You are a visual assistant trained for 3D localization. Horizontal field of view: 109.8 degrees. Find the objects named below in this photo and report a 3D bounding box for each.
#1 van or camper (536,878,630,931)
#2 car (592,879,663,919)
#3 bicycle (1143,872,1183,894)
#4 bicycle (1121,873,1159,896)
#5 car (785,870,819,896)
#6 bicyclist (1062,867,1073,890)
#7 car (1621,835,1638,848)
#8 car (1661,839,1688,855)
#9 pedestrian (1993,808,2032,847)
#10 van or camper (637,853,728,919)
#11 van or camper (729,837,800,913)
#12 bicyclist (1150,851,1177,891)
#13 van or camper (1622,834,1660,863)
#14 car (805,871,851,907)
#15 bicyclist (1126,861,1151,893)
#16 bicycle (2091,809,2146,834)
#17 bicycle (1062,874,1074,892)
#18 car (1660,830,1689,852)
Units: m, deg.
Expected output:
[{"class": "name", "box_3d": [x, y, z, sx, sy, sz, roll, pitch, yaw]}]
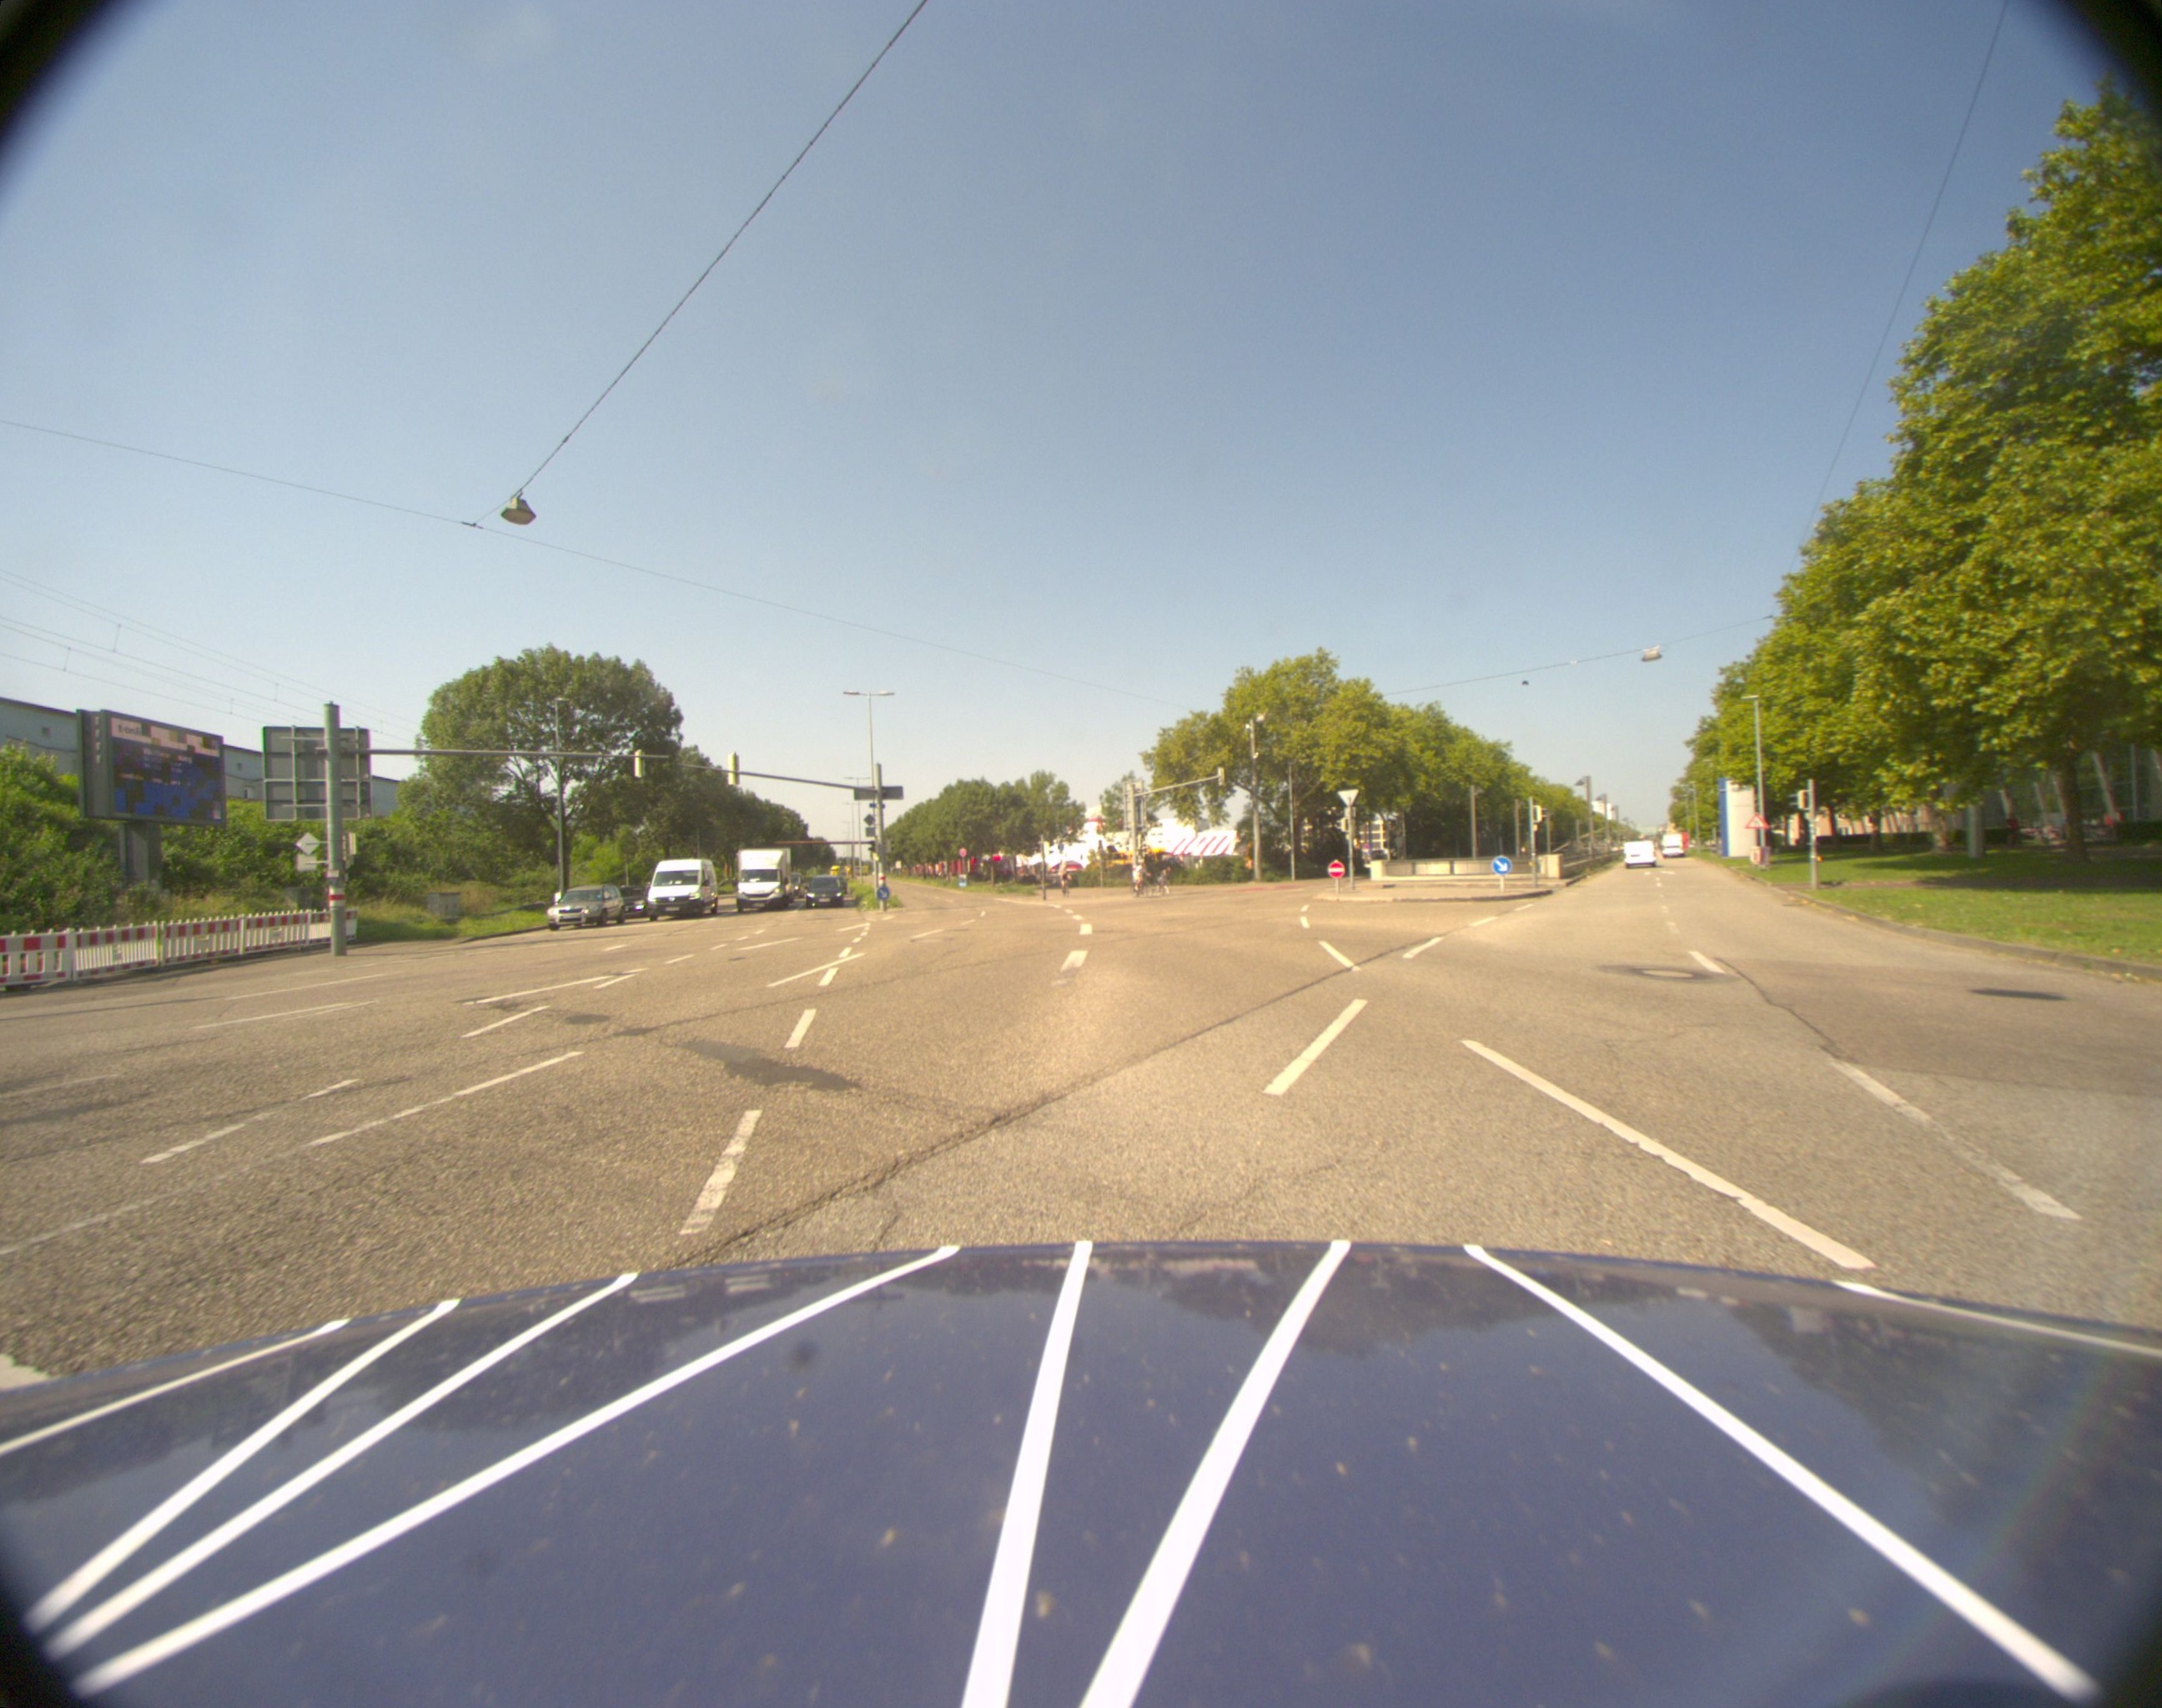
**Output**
[{"class": "van or camper", "box_3d": [-19.123, 1.921, 29.411, 1.853, 1.765, 4.170, -4, -2, -17]}, {"class": "car", "box_3d": [-21.128, 2.048, 35.593, 2.001, 1.543, 3.994, -4, 0, -19]}, {"class": "bicycle", "box_3d": [4.365, 1.551, 40.479, 0.774, 1.081, 2.258, -3, -1, -35]}, {"class": "bicycle", "box_3d": [2.985, 1.550, 38.678, 0.774, 1.081, 2.216, -3, 0, -29]}, {"class": "car", "box_3d": [-19.380, 2.053, 52.864, 1.657, 1.654, 3.753, -4, -2, -13]}, {"class": "bicyclist", "box_3d": [-0.823, 1.483, 46.353, 0.502, 1.356, 0.697, -4, -1, 5]}, {"class": "car", "box_3d": [94.983, -2.138, 131.627, 1.995, 2.001, 4.008, -5, -2, 32]}, {"class": "car", "box_3d": [63.737, -0.750, 81.661, 1.995, 1.444, 4.008, -5, -2, 36]}, {"class": "pedestrian", "box_3d": [49.824, -1.395, 40.656, 0.947, 2.001, 1.351, -5, -2, 39]}, {"class": "van or camper", "box_3d": [-17.521, 1.450, 33.781, 2.251, 2.467, 6.859, -4, -2, -17]}, {"class": "van or camper", "box_3d": [-15.712, 1.117, 38.131, 2.250, 3.341, 6.845, -4, -2, -15]}, {"class": "bicyclist", "box_3d": [4.378, 0.904, 40.403, 0.599, 2.001, 1.202, -3, -2, -34]}, {"class": "van or camper", "box_3d": [40.495, -0.400, 55.035, 1.842, 1.935, 4.957, -3, -1, 33]}, {"class": "car", "box_3d": [-13.136, 1.853, 39.699, 1.907, 1.603, 5.191, -4, -2, -15]}, {"class": "bicyclist", "box_3d": [2.940, 1.181, 38.726, 0.599, 1.584, 1.203, -3, -2, -29]}, {"class": "bicycle", "box_3d": [73.029, -2.262, 53.496, 2.165, 1.545, 0.602, -5, -2, 30]}, {"class": "bicycle", "box_3d": [-0.791, 1.784, 46.473, 0.572, 1.049, 1.494, -5, -2, 4]}, {"class": "car", "box_3d": [66.871, -1.505, 85.659, 2.287, 2.219, 4.665, -5, -2, 36]}]
